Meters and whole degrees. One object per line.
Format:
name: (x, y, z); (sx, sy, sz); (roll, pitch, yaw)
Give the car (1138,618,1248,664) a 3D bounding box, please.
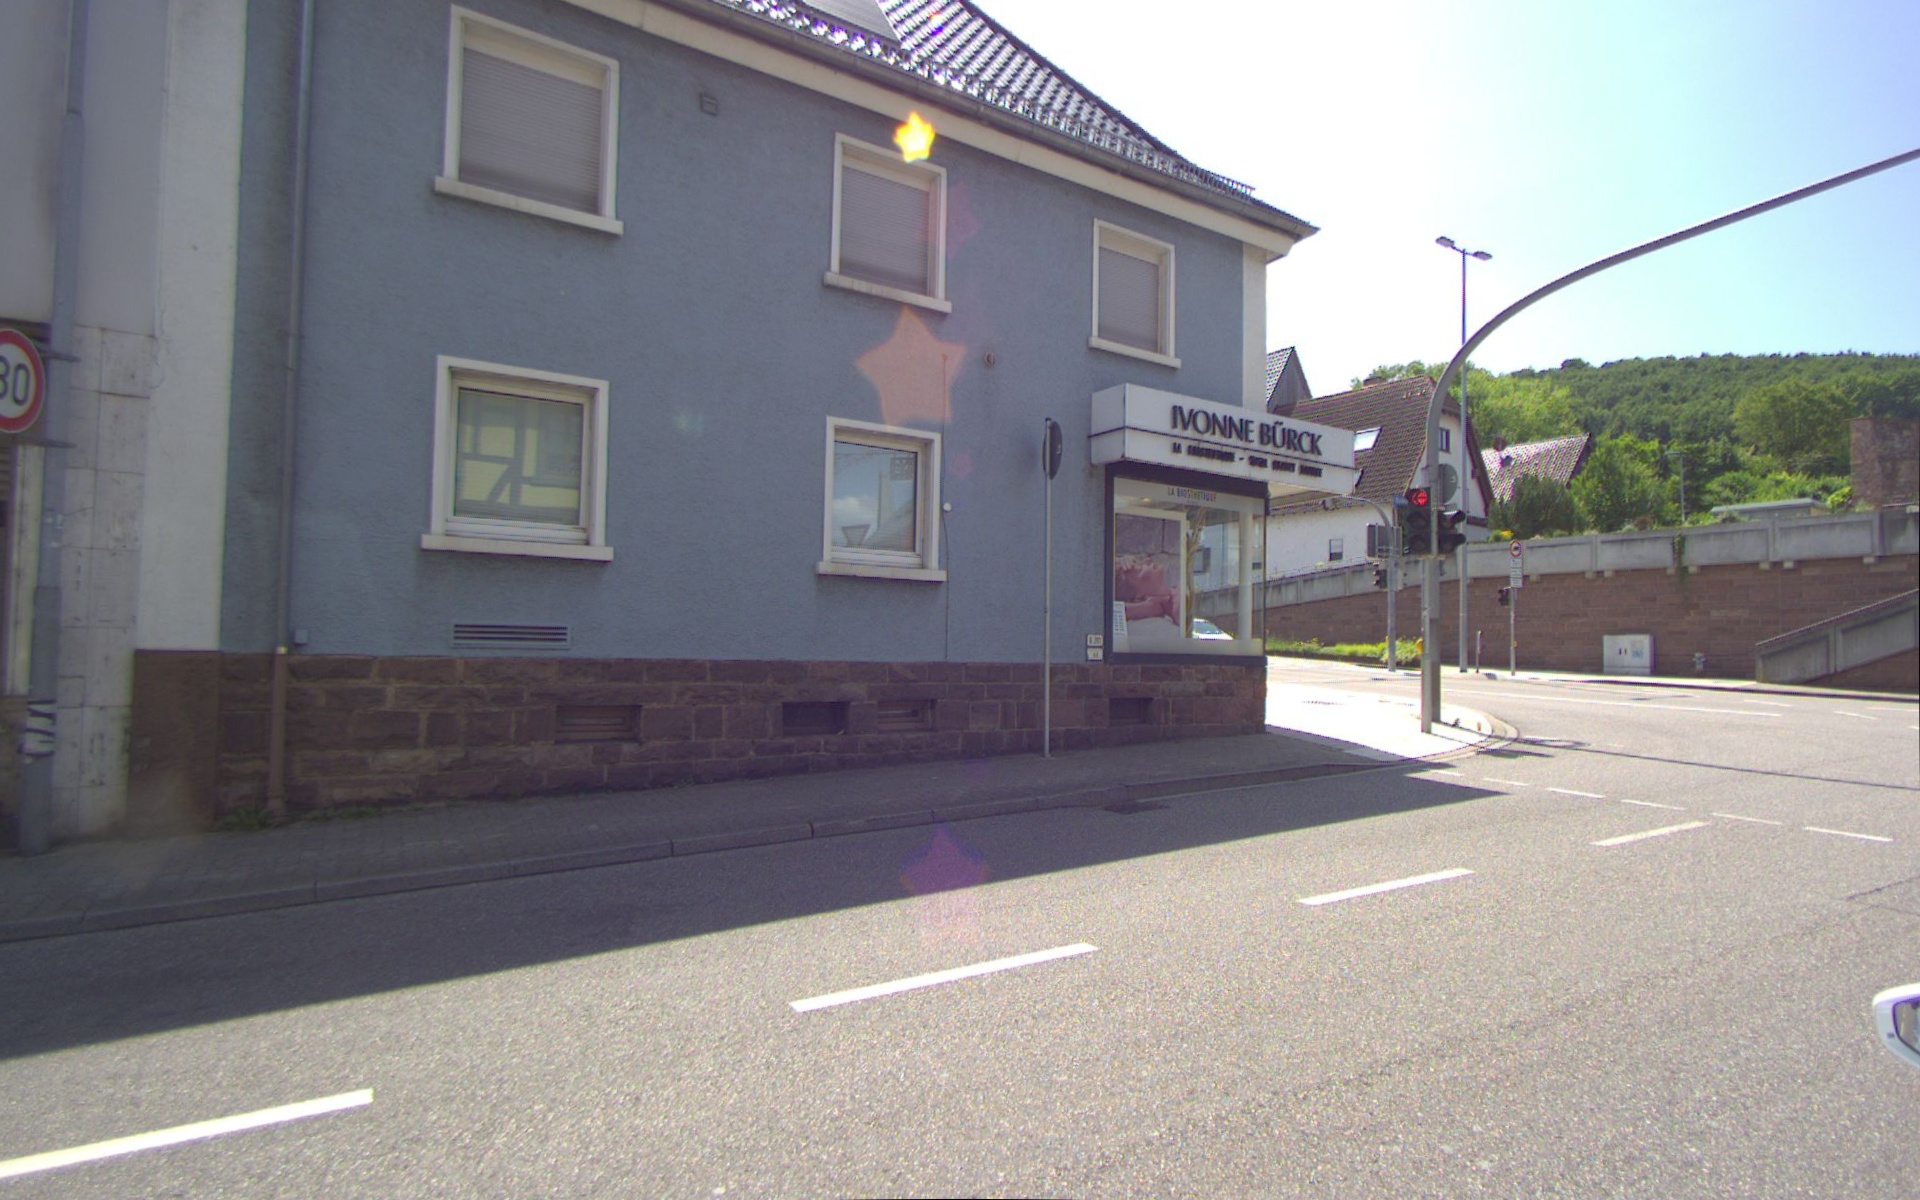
car: (8.259, 1.402, 35.941); (1.839, 1.499, 3.975); (0, 0, -25)
